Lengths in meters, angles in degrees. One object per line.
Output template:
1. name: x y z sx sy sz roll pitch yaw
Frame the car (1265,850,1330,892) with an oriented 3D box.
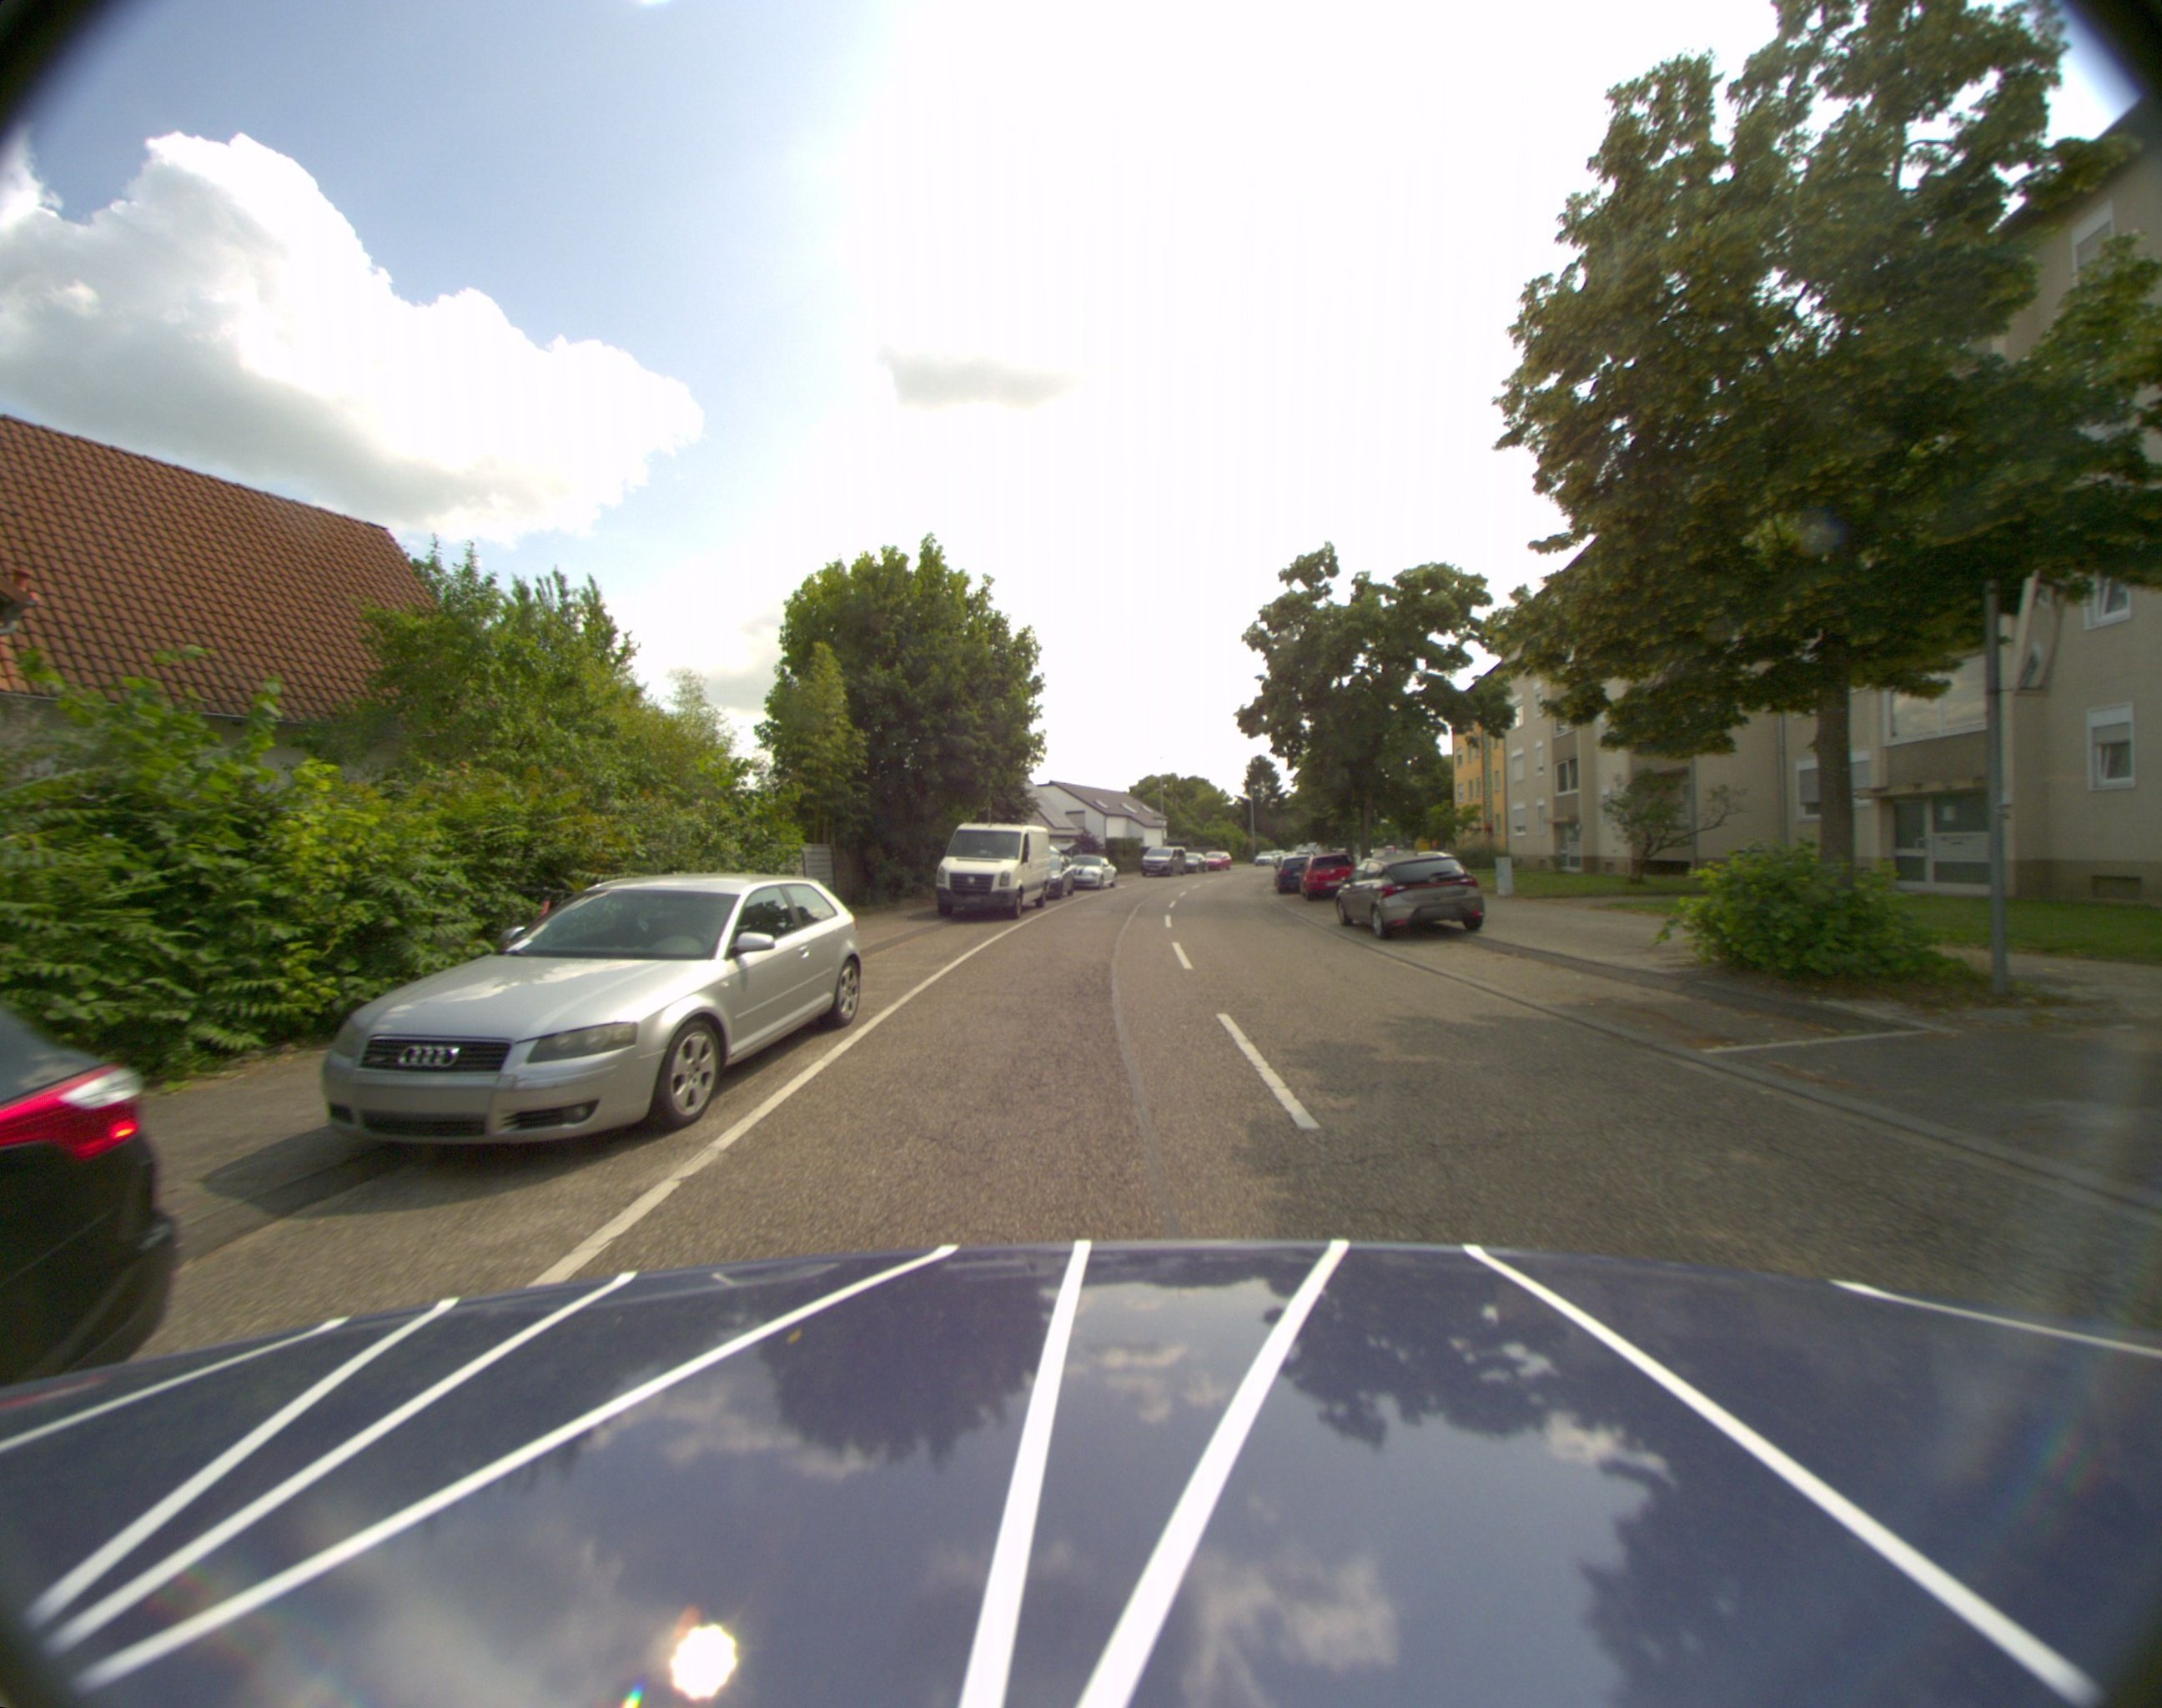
1. car: 8.483 0.620 30.050 1.758 1.480 3.683 -2 0 5

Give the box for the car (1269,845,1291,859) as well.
1. car: 22.147 -0.280 84.469 1.783 1.433 3.972 -2 0 24

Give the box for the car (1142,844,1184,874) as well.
1. car: 5.333 0.295 49.172 1.838 1.855 4.286 1 1 18

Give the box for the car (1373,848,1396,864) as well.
1. car: 30.568 0.174 76.489 1.782 1.433 3.973 -2 0 26

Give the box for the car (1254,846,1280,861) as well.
1. car: 18.833 -0.069 76.908 1.783 1.433 3.972 -2 0 24

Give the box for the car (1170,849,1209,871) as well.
1. car: 7.987 0.420 55.527 1.841 1.410 3.894 -2 0 23

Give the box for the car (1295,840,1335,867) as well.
1. car: 15.608 -0.061 50.637 1.819 1.714 3.688 -2 0 28

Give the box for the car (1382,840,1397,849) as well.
1. car: 49.374 -1.531 121.572 1.782 1.433 3.973 -2 0 26

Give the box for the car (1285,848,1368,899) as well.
1. car: 7.972 0.592 24.968 1.758 1.480 3.683 -2 0 5

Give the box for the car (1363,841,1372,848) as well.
1. car: 64.718 -2.227 171.453 1.783 1.433 3.972 -2 0 22

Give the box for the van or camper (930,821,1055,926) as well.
1. van or camper: -2.130 0.438 20.200 1.972 2.345 5.761 -1 0 7

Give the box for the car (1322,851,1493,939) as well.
1. car: 6.079 0.676 14.674 1.758 1.410 4.001 -2 0 4

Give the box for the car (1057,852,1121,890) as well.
1. car: 0.416 0.692 33.448 1.817 1.514 4.269 -1 0 14

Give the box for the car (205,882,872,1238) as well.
1. car: -3.014 1.013 5.450 1.684 1.428 4.063 -2 0 3

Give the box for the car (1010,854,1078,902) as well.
1. car: -1.229 0.783 26.946 1.683 1.514 4.064 -1 0 7

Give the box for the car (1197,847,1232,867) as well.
1. car: 10.748 0.241 60.996 1.782 1.477 4.288 1 1 24
